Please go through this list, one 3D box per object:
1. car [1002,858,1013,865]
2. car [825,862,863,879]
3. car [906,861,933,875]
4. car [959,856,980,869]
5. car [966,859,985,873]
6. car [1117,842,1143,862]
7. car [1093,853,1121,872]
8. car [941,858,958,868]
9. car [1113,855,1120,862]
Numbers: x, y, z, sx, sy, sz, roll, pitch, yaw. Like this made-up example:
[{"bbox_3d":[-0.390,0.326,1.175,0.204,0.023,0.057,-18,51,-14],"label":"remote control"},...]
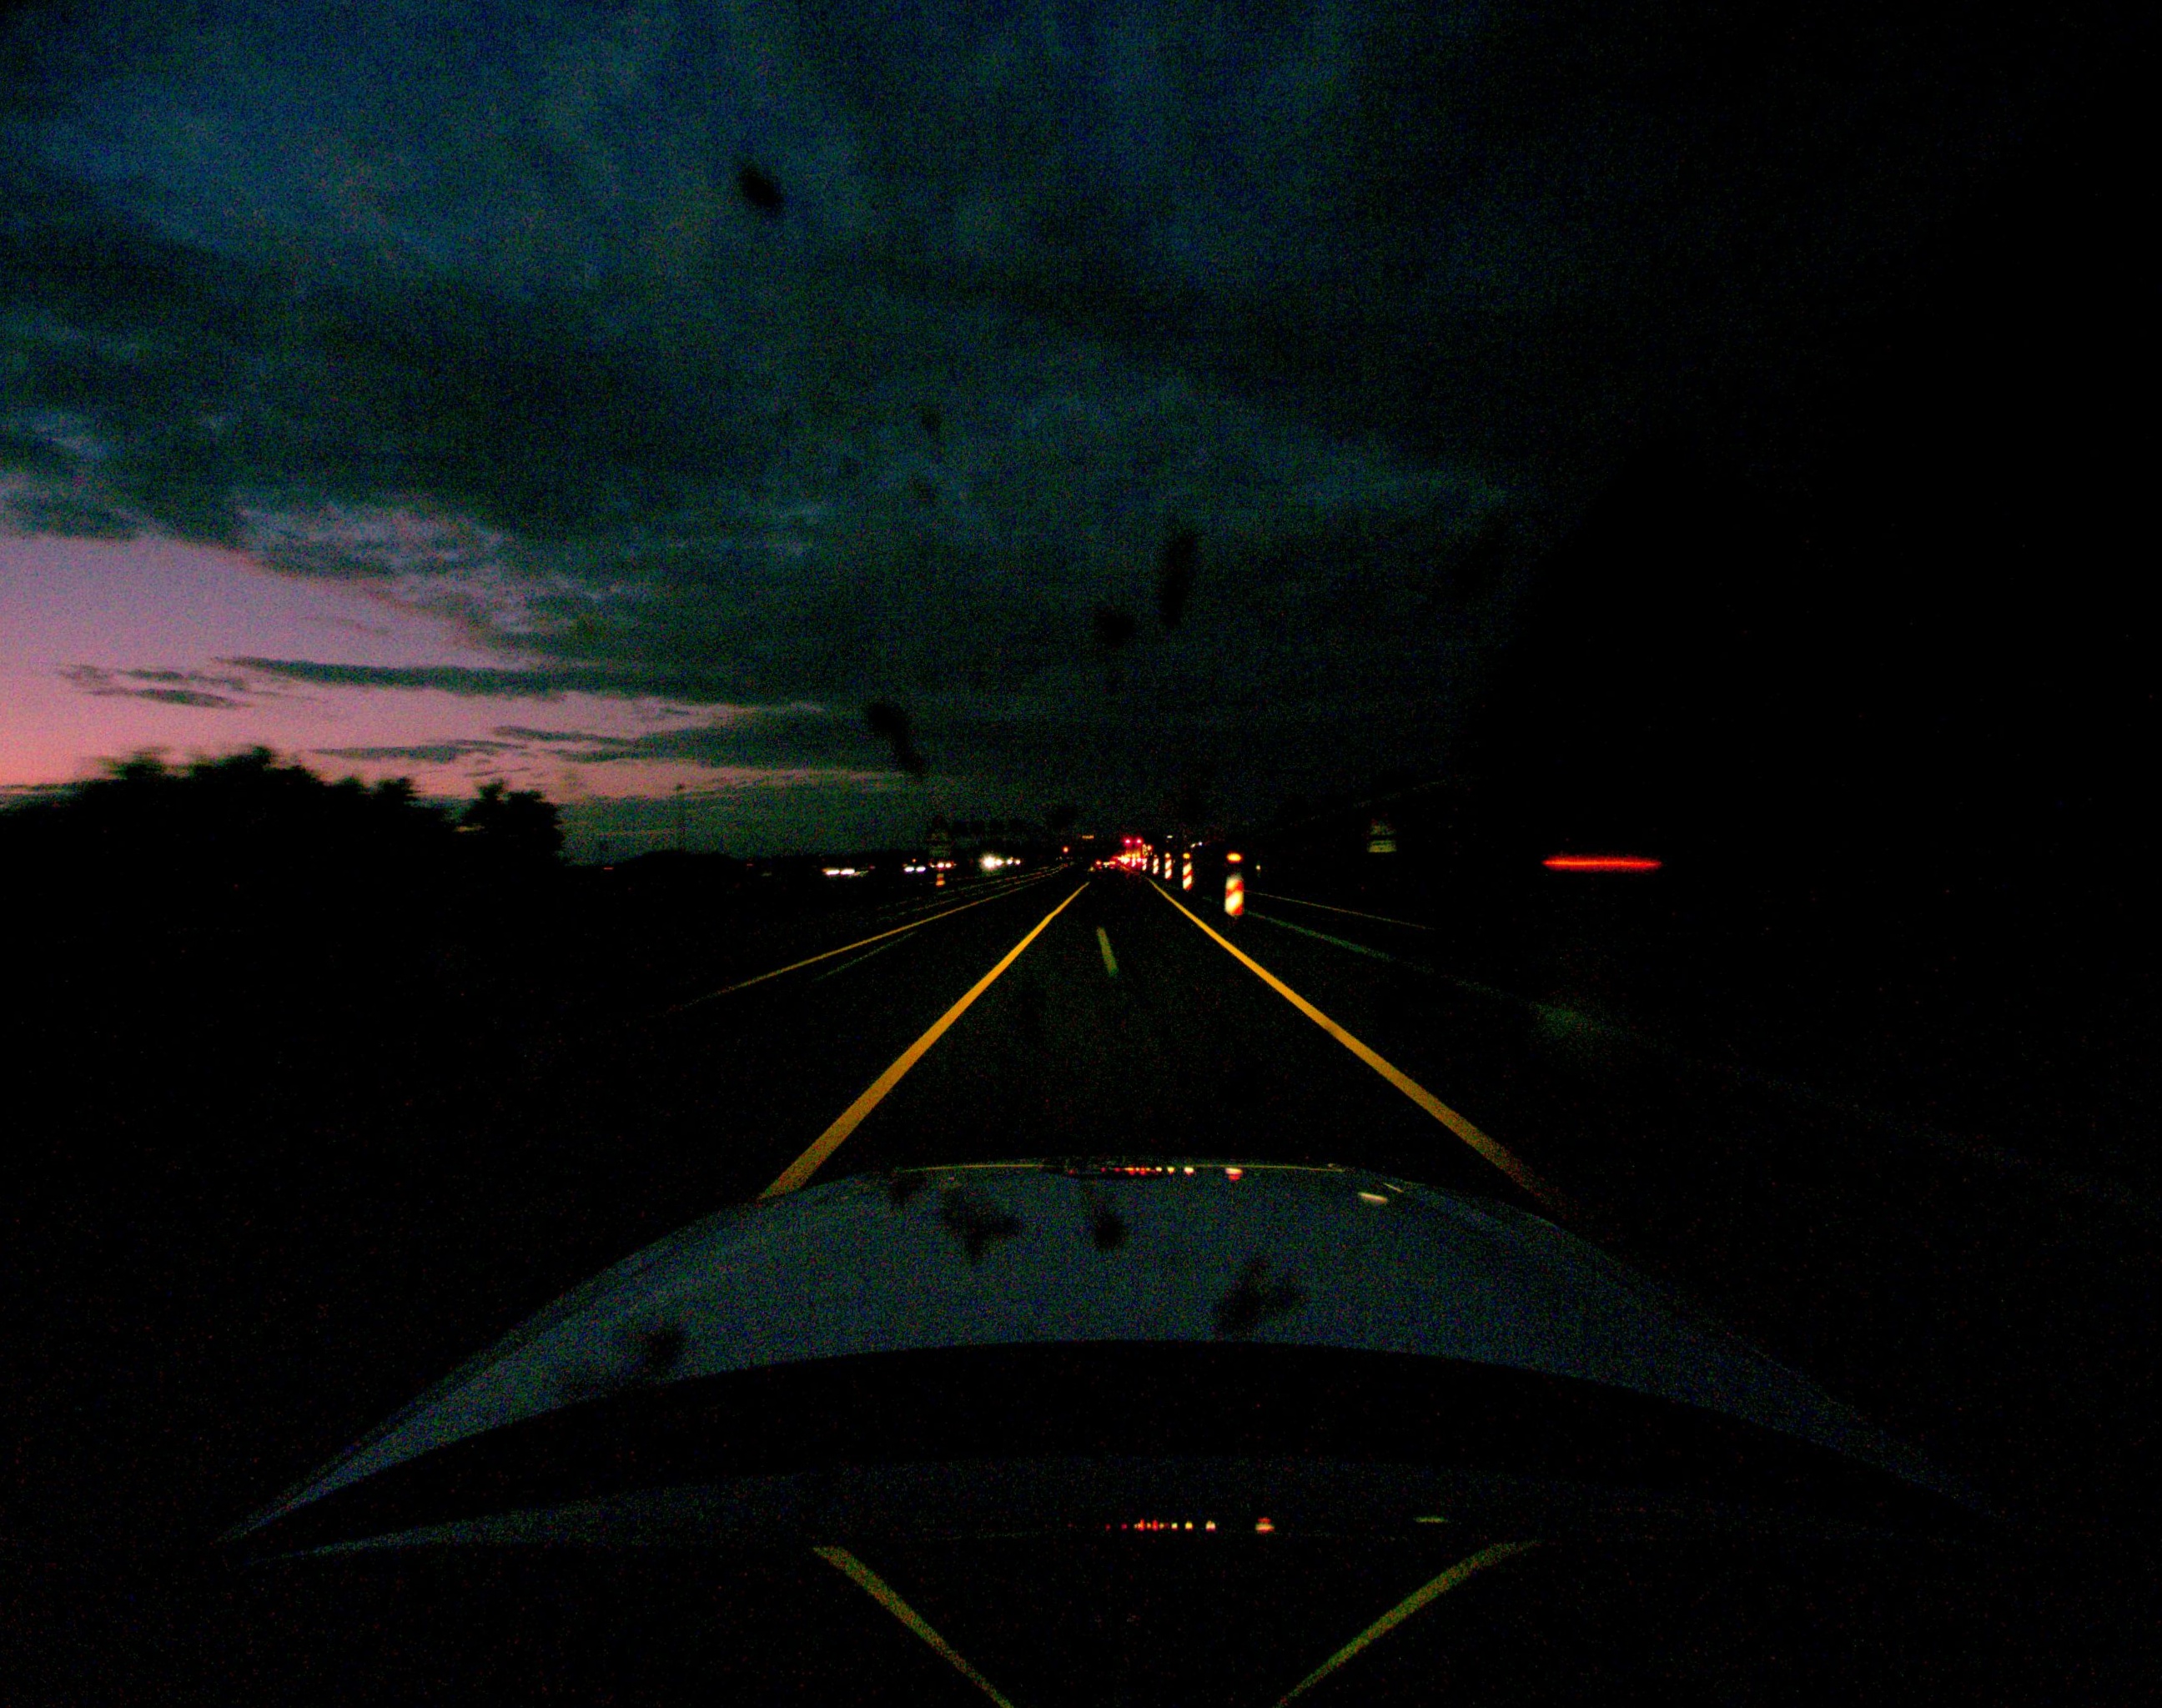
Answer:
[{"bbox_3d":[-15.090,1.624,167.394,1.570,1.430,4.426,0,0,2],"label":"car"},{"bbox_3d":[-20.122,1.382,69.328,1.986,1.464,4.135,0,0,1],"label":"car"},{"bbox_3d":[-17.051,1.468,86.216,1.757,1.464,4.692,0,0,2],"label":"car"},{"bbox_3d":[-14.217,1.065,103.703,1.986,1.714,4.001,0,0,1],"label":"car"},{"bbox_3d":[-14.247,1.655,110.446,1.986,1.828,4.001,0,0,1],"label":"car"},{"bbox_3d":[8.775,-0.344,146.682,3.599,3.395,7.999,0,0,-5],"label":"car"},{"bbox_3d":[2.314,0.768,73.406,2.260,1.621,3.995,0,0,-3],"label":"car"},{"bbox_3d":[-20.747,1.443,128.678,1.757,1.548,4.426,0,0,2],"label":"car"},{"bbox_3d":[11.017,1.464,251.692,1.986,2.014,4.001,0,0,1],"label":"car"}]
